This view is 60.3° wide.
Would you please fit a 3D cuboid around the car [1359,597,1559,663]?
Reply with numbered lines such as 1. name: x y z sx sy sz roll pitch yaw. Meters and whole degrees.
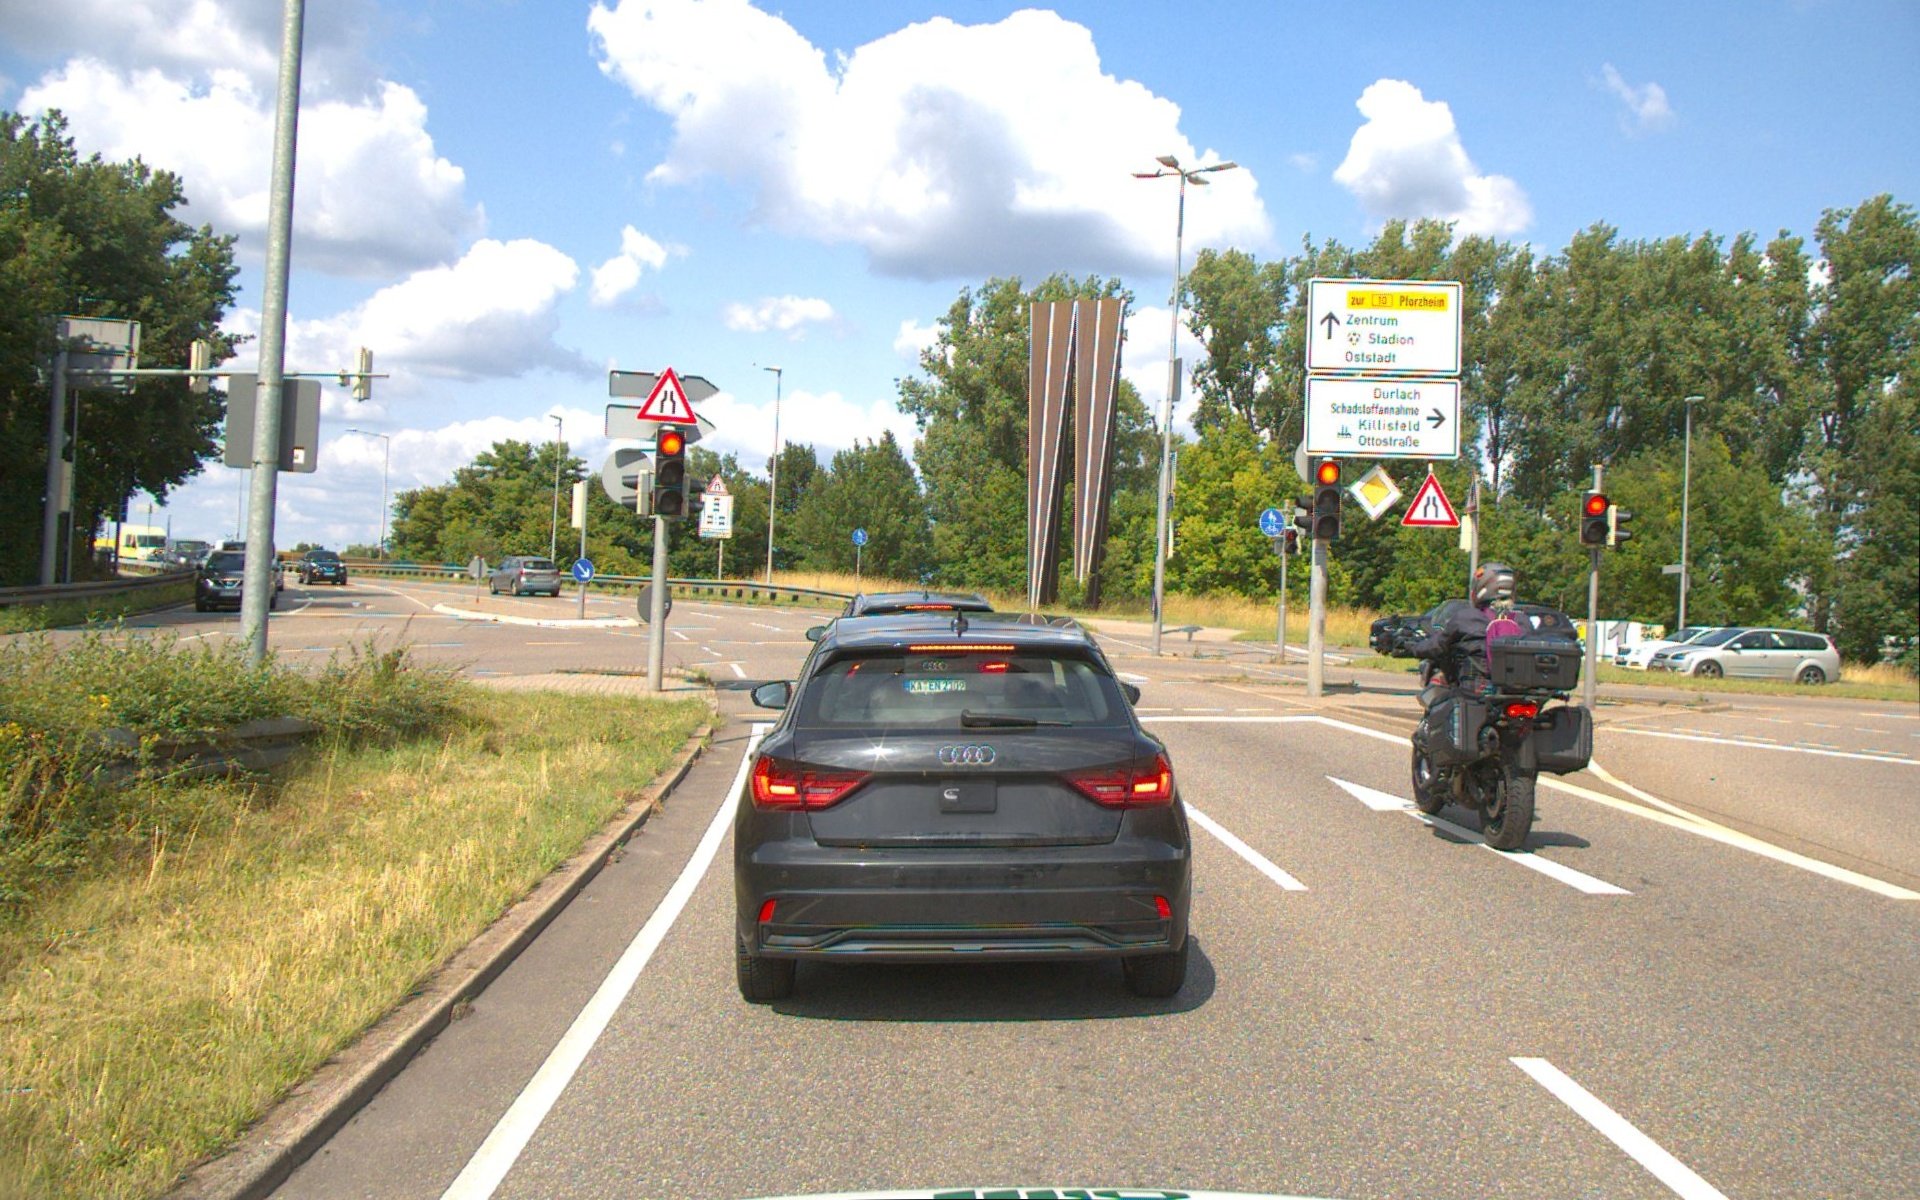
1. car: 13.201 0.783 43.920 4.750 1.572 1.736 2 0 -2

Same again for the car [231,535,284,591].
1. car: -28.217 -1.476 66.393 1.819 2.137 4.293 2 0 -24

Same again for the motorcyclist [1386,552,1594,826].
1. motorcyclist: 3.324 0.531 10.479 0.918 1.618 1.083 2 0 -1

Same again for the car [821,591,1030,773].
1. car: -0.434 0.653 15.317 1.692 1.448 3.841 0 1 -5

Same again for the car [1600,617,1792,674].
1. car: 19.697 1.208 44.347 4.404 1.304 1.736 2 0 -4

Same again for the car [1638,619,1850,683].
1. car: 19.069 1.229 40.335 4.384 1.343 1.735 2 0 -4

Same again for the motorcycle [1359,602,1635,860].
1. motorcycle: 3.316 0.742 10.510 0.918 1.407 2.369 2 0 -1

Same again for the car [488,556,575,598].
1. car: -16.951 -0.910 65.337 1.978 1.522 4.068 2 0 -36

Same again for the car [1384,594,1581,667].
1. car: 12.608 0.724 40.058 4.182 1.572 1.736 2 0 -2

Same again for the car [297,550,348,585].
1. car: -29.830 -1.522 77.383 1.712 1.522 4.009 2 0 -28

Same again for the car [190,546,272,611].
1. car: -19.882 -0.556 45.249 1.813 1.646 3.974 2 -1 -21

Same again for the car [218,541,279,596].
1. car: -25.371 -1.129 59.092 1.817 1.833 4.299 2 0 -22

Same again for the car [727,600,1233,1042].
1. car: 0.038 0.737 7.524 1.691 1.429 3.999 0 1 -1

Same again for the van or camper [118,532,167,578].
1. van or camper: -50.371 -2.762 101.836 1.974 2.730 6.788 2 0 -32

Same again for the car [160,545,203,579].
1. car: -42.136 -2.064 89.492 1.823 1.735 4.286 2 0 -29
